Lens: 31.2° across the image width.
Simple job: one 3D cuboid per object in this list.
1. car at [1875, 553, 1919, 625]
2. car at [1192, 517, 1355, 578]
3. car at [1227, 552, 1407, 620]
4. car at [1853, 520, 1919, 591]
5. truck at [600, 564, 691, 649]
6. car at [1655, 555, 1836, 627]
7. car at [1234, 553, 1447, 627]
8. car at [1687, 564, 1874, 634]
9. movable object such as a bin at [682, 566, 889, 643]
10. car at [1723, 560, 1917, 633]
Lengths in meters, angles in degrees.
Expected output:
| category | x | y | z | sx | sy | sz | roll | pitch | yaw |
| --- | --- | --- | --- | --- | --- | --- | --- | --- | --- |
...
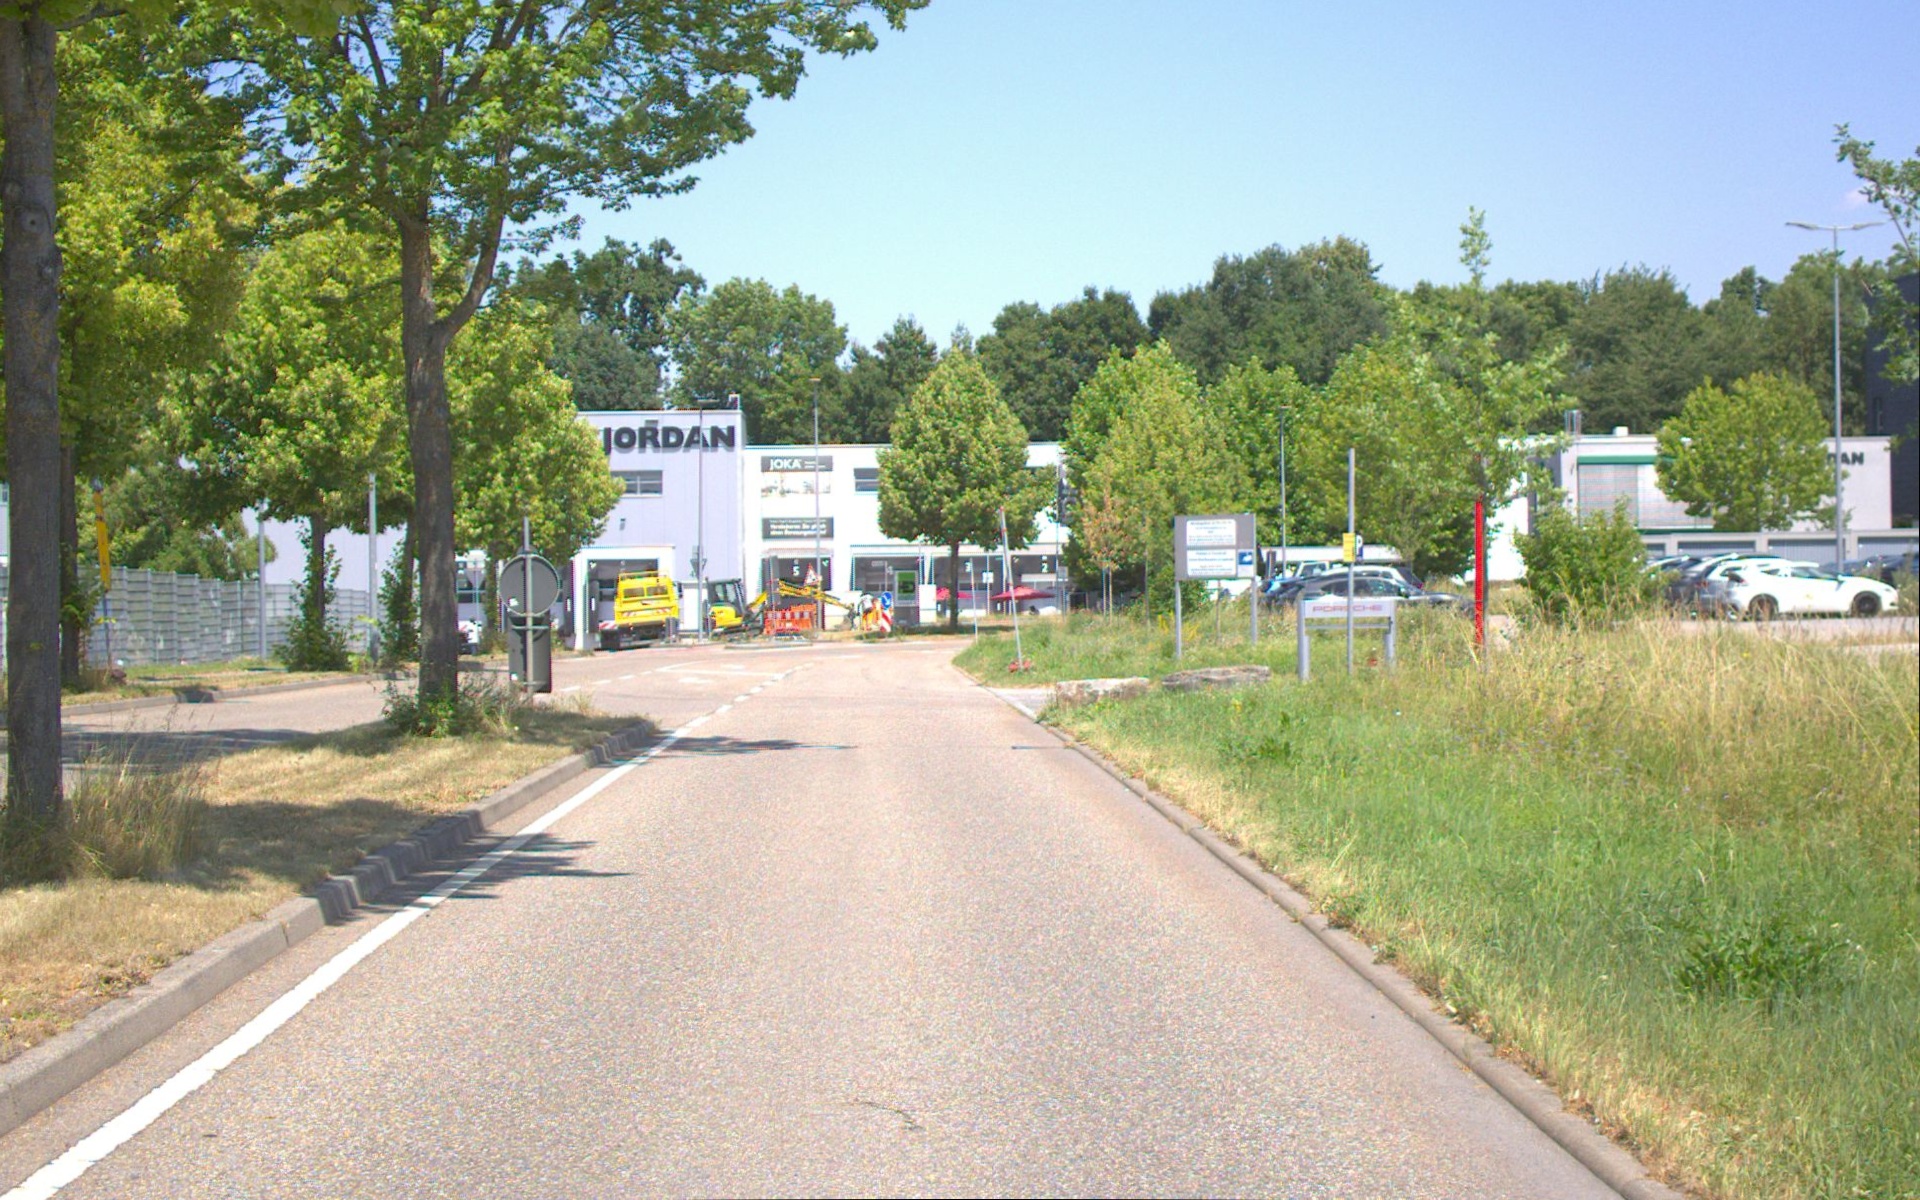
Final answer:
| category | x | y | z | sx | sy | sz | roll | pitch | yaw |
| --- | --- | --- | --- | --- | --- | --- | --- | --- | --- |
| car | 24.202 | -0.345 | 82.424 | 3.986 | 1.590 | 1.769 | -3 | 4 | -5 |
| car | 8.595 | -1.452 | 94.471 | 4.162 | 1.395 | 1.769 | -3 | 4 | -5 |
| car | 8.916 | -0.356 | 85.953 | 4.162 | 1.395 | 1.769 | -3 | 4 | -5 |
| car | 24.424 | -1.172 | 85.338 | 3.986 | 1.590 | 1.769 | -3 | 4 | -5 |
| truck | -12.411 | 0.215 | 135.227 | 2.938 | 2.876 | 5.812 | -3 | 4 | -10 |
| car | 19.468 | -0.228 | 85.312 | 3.986 | 1.485 | 1.769 | -3 | 4 | -5 |
| car | 8.847 | -0.238 | 80.189 | 4.704 | 1.395 | 1.922 | -3 | 4 | 1 |
| car | 19.650 | -0.035 | 82.404 | 3.986 | 1.395 | 1.769 | -3 | 4 | -5 |
| movable object such as a bin | -6.799 | 0.181 | 135.116 | 7.528 | 2.491 | 3.666 | -2 | 4 | 7 |
| car | 19.962 | -0.093 | 79.923 | 3.986 | 1.395 | 1.769 | -3 | 4 | -3 |
